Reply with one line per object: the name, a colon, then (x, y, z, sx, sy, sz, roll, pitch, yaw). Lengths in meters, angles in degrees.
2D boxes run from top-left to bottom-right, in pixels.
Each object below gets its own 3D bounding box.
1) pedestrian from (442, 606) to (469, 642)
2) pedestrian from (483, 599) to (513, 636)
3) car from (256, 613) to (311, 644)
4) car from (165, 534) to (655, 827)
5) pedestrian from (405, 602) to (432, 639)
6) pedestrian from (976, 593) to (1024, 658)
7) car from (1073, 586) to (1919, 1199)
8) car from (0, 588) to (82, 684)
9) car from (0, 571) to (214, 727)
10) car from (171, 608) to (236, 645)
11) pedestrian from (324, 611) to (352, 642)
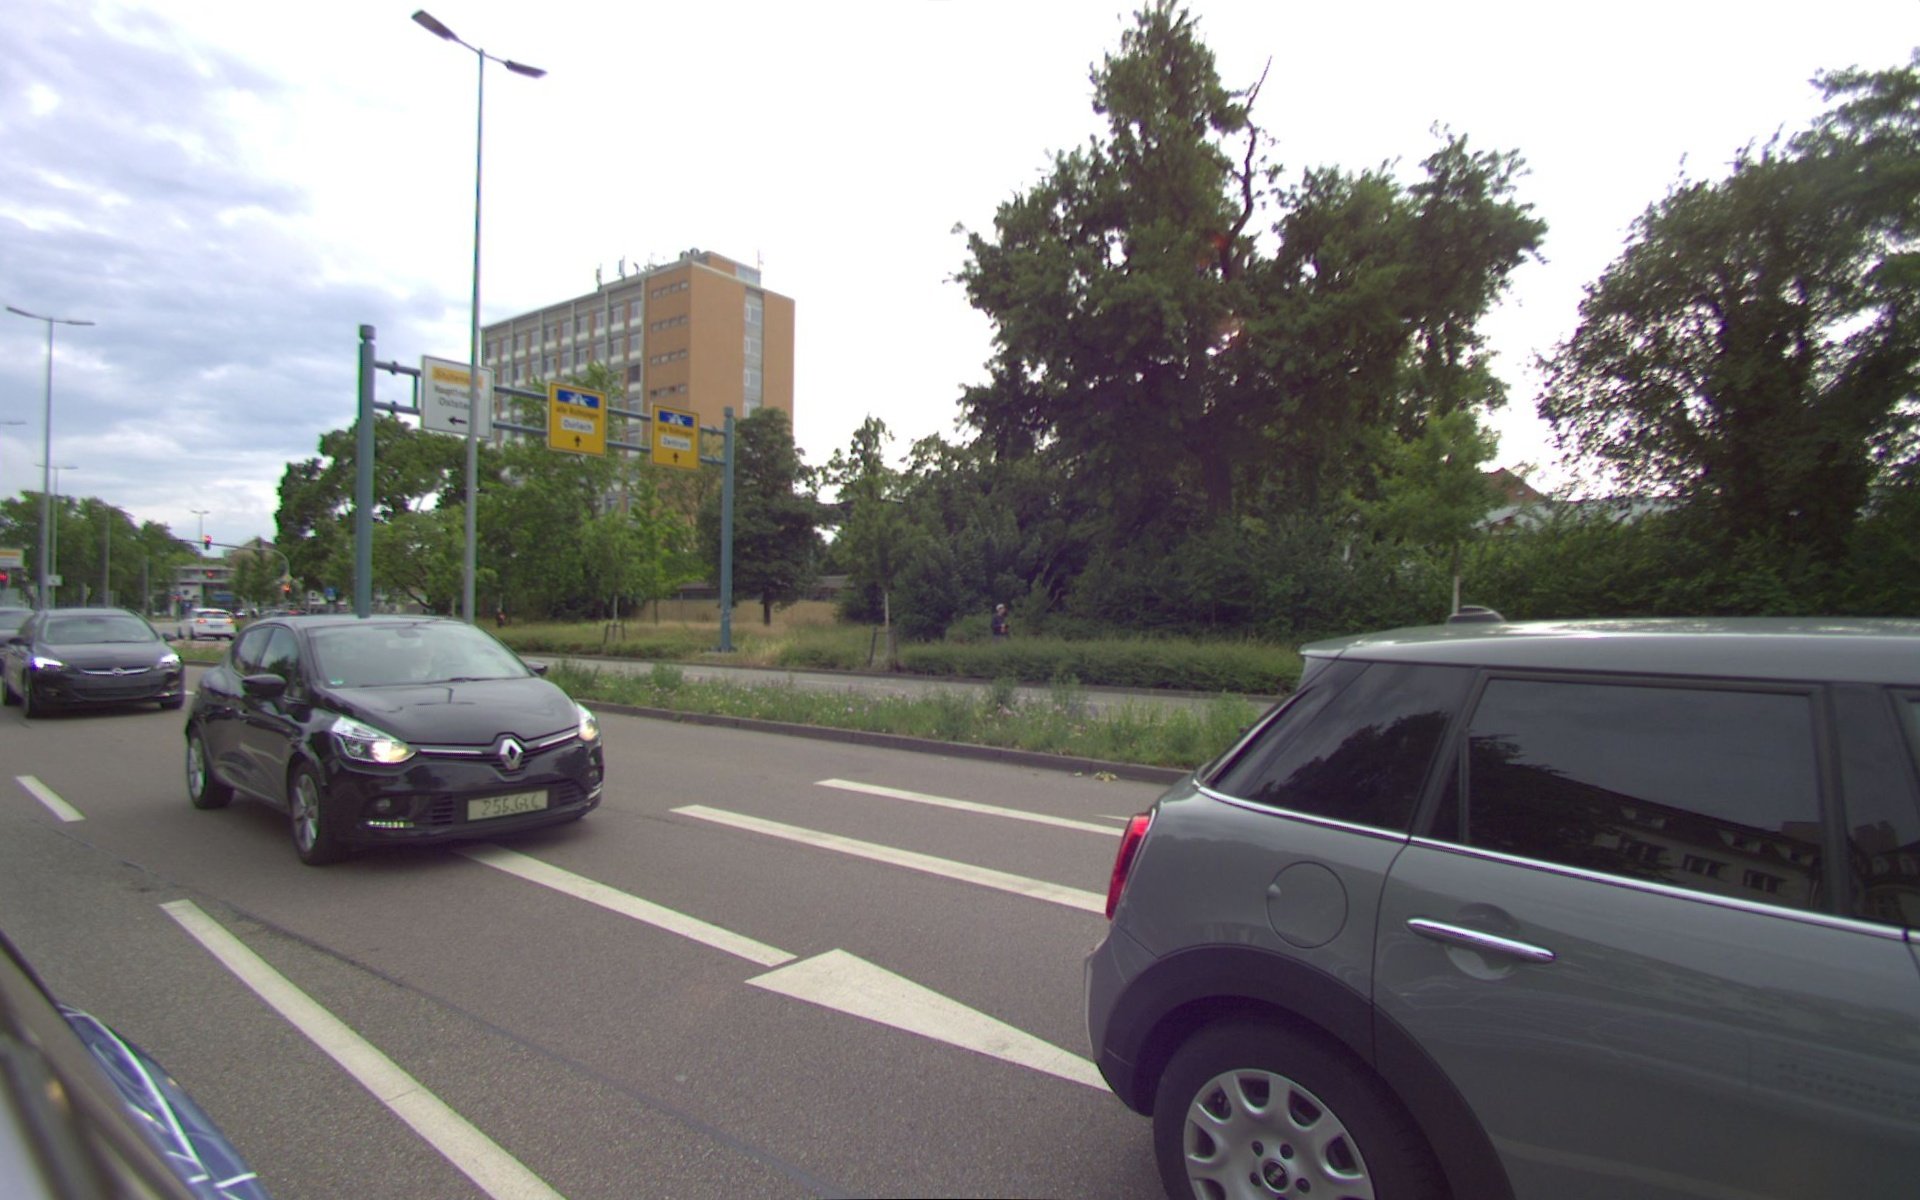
pedestrian: (-28.335, 1.339, 56.825, 1.218, 2.029, 0.872, 0, 0, 33)
pedestrian: (-24.598, 0.941, 53.849, 1.163, 1.933, 1.122, 0, 0, 44)
car: (-35.787, 1.479, 53.520, 1.828, 1.564, 4.005, 1, -1, -42)
car: (-3.992, 0.437, 7.057, 3.998, 1.470, 1.709, 0, -2, 41)
pedestrian: (-30.036, 1.124, 56.130, 1.218, 2.029, 0.872, 0, 0, 33)
pedestrian: (1.036, 0.645, 26.272, 0.812, 1.637, 0.978, 0, 0, 38)
car: (2.175, 0.664, 1.697, 3.704, 1.328, 1.604, 0, -2, 41)
car: (-21.544, 0.773, 22.895, 3.998, 2.029, 1.973, -1, -2, 41)
car: (-12.944, 0.671, 15.191, 3.998, 2.029, 1.973, -1, -2, 41)
car: (-38.652, 1.323, 51.705, 3.998, 1.786, 1.869, 0, 0, 41)
pedestrian: (-42.813, 1.815, 69.674, 1.519, 2.029, 1.208, 0, 0, 41)
